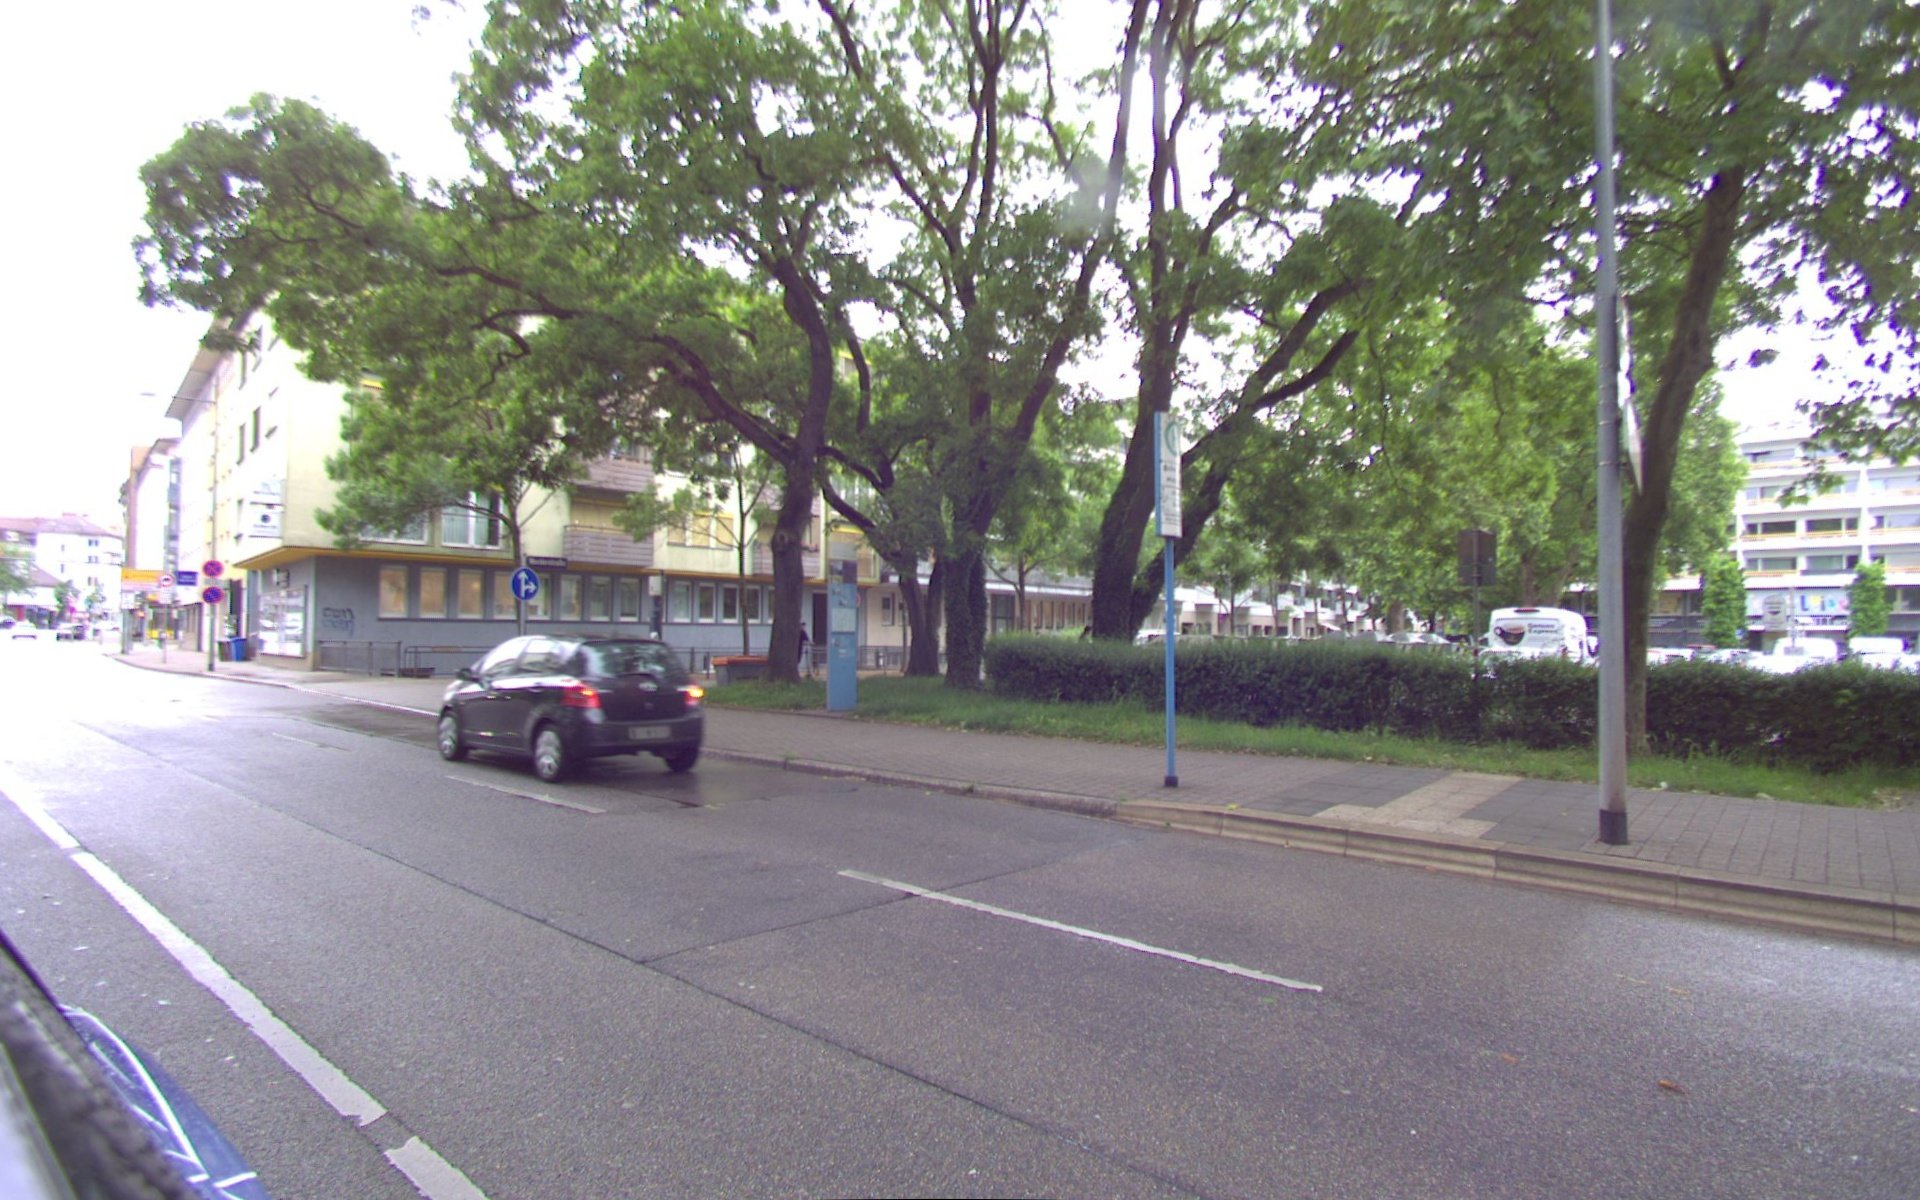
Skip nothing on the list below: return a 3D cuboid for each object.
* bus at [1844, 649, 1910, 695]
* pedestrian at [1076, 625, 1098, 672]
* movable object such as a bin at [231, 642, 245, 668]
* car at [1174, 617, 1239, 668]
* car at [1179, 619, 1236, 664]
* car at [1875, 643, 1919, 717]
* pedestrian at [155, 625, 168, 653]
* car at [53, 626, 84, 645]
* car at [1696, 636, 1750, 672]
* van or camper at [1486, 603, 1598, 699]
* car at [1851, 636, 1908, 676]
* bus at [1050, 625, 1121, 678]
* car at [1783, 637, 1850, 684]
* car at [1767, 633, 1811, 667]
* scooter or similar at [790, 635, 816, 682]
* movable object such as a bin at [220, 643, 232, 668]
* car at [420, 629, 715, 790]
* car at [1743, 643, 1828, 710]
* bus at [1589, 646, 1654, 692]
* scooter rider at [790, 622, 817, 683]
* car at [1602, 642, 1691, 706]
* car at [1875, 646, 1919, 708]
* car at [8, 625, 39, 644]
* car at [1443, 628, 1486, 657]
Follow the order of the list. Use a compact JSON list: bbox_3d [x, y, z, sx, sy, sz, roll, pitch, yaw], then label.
[{"bbox_3d":[33.159,2.573,36.652,1.604,1.551,3.385,-1,-3,40],"label":"bus"},{"bbox_3d":[3.401,1.291,27.046,0.482,1.222,0.435,-1,0,23],"label":"pedestrian"},{"bbox_3d":[-29.881,2.273,41.890,0.409,1.037,0.354,3,-4,-42],"label":"movable object such as a bin"},{"bbox_3d":[10.358,1.801,42.384,1.988,2.029,3.967,0,-3,24],"label":"car"},{"bbox_3d":[11.780,1.969,48.013,1.988,2.029,3.967,0,-3,24],"label":"car"},{"bbox_3d":[19.931,1.633,20.938,1.391,1.446,3.227,-2,-4,41],"label":"car"},{"bbox_3d":[-53.996,2.649,68.410,0.586,1.858,0.565,3,-4,-42],"label":"pedestrian"},{"bbox_3d":[-81.991,3.253,93.066,4.002,1.730,1.863,-2,-4,45],"label":"car"},{"bbox_3d":[35.722,2.485,47.358,1.837,1.435,3.780,-1,0,39],"label":"car"},{"bbox_3d":[16.848,1.450,29.205,2.097,2.556,4.367,-1,-3,40],"label":"van or camper"},{"bbox_3d":[40.423,2.423,44.545,1.639,1.536,3.161,-1,0,38],"label":"car"},{"bbox_3d":[4.840,1.964,38.682,1.703,1.939,3.697,0,-3,24],"label":"bus"},{"bbox_3d":[28.176,1.963,33.346,1.604,1.439,3.275,-1,-3,40],"label":"car"},{"bbox_3d":[41.987,2.502,51.296,1.639,1.536,3.161,-1,0,38],"label":"car"},{"bbox_3d":[-4.746,1.770,30.635,0.666,1.392,0.670,-1,-2,-17],"label":"scooter or similar"},{"bbox_3d":[-30.226,2.275,41.653,0.333,1.037,0.354,3,-4,-42],"label":"movable object such as a bin"},{"bbox_3d":[-4.445,1.100,11.264,3.565,1.500,1.551,-1,-4,41],"label":"car"},{"bbox_3d":[19.240,1.748,23.559,1.391,1.446,3.227,-2,-4,41],"label":"car"},{"bbox_3d":[24.241,2.497,37.068,1.604,1.551,3.385,-1,-3,40],"label":"bus"},{"bbox_3d":[-4.755,1.586,30.684,0.700,1.831,0.700,-1,-3,-17],"label":"scooter rider"},{"bbox_3d":[16.735,1.768,24.614,1.391,1.446,3.227,-2,-4,41],"label":"car"},{"bbox_3d":[23.418,1.871,24.800,1.391,1.446,3.227,-2,-4,41],"label":"car"},{"bbox_3d":[-86.233,3.174,93.158,4.002,1.670,1.842,-2,-4,45],"label":"car"},{"bbox_3d":[27.310,2.289,54.727,1.428,1.439,2.926,-2,-1,40],"label":"car"}]
